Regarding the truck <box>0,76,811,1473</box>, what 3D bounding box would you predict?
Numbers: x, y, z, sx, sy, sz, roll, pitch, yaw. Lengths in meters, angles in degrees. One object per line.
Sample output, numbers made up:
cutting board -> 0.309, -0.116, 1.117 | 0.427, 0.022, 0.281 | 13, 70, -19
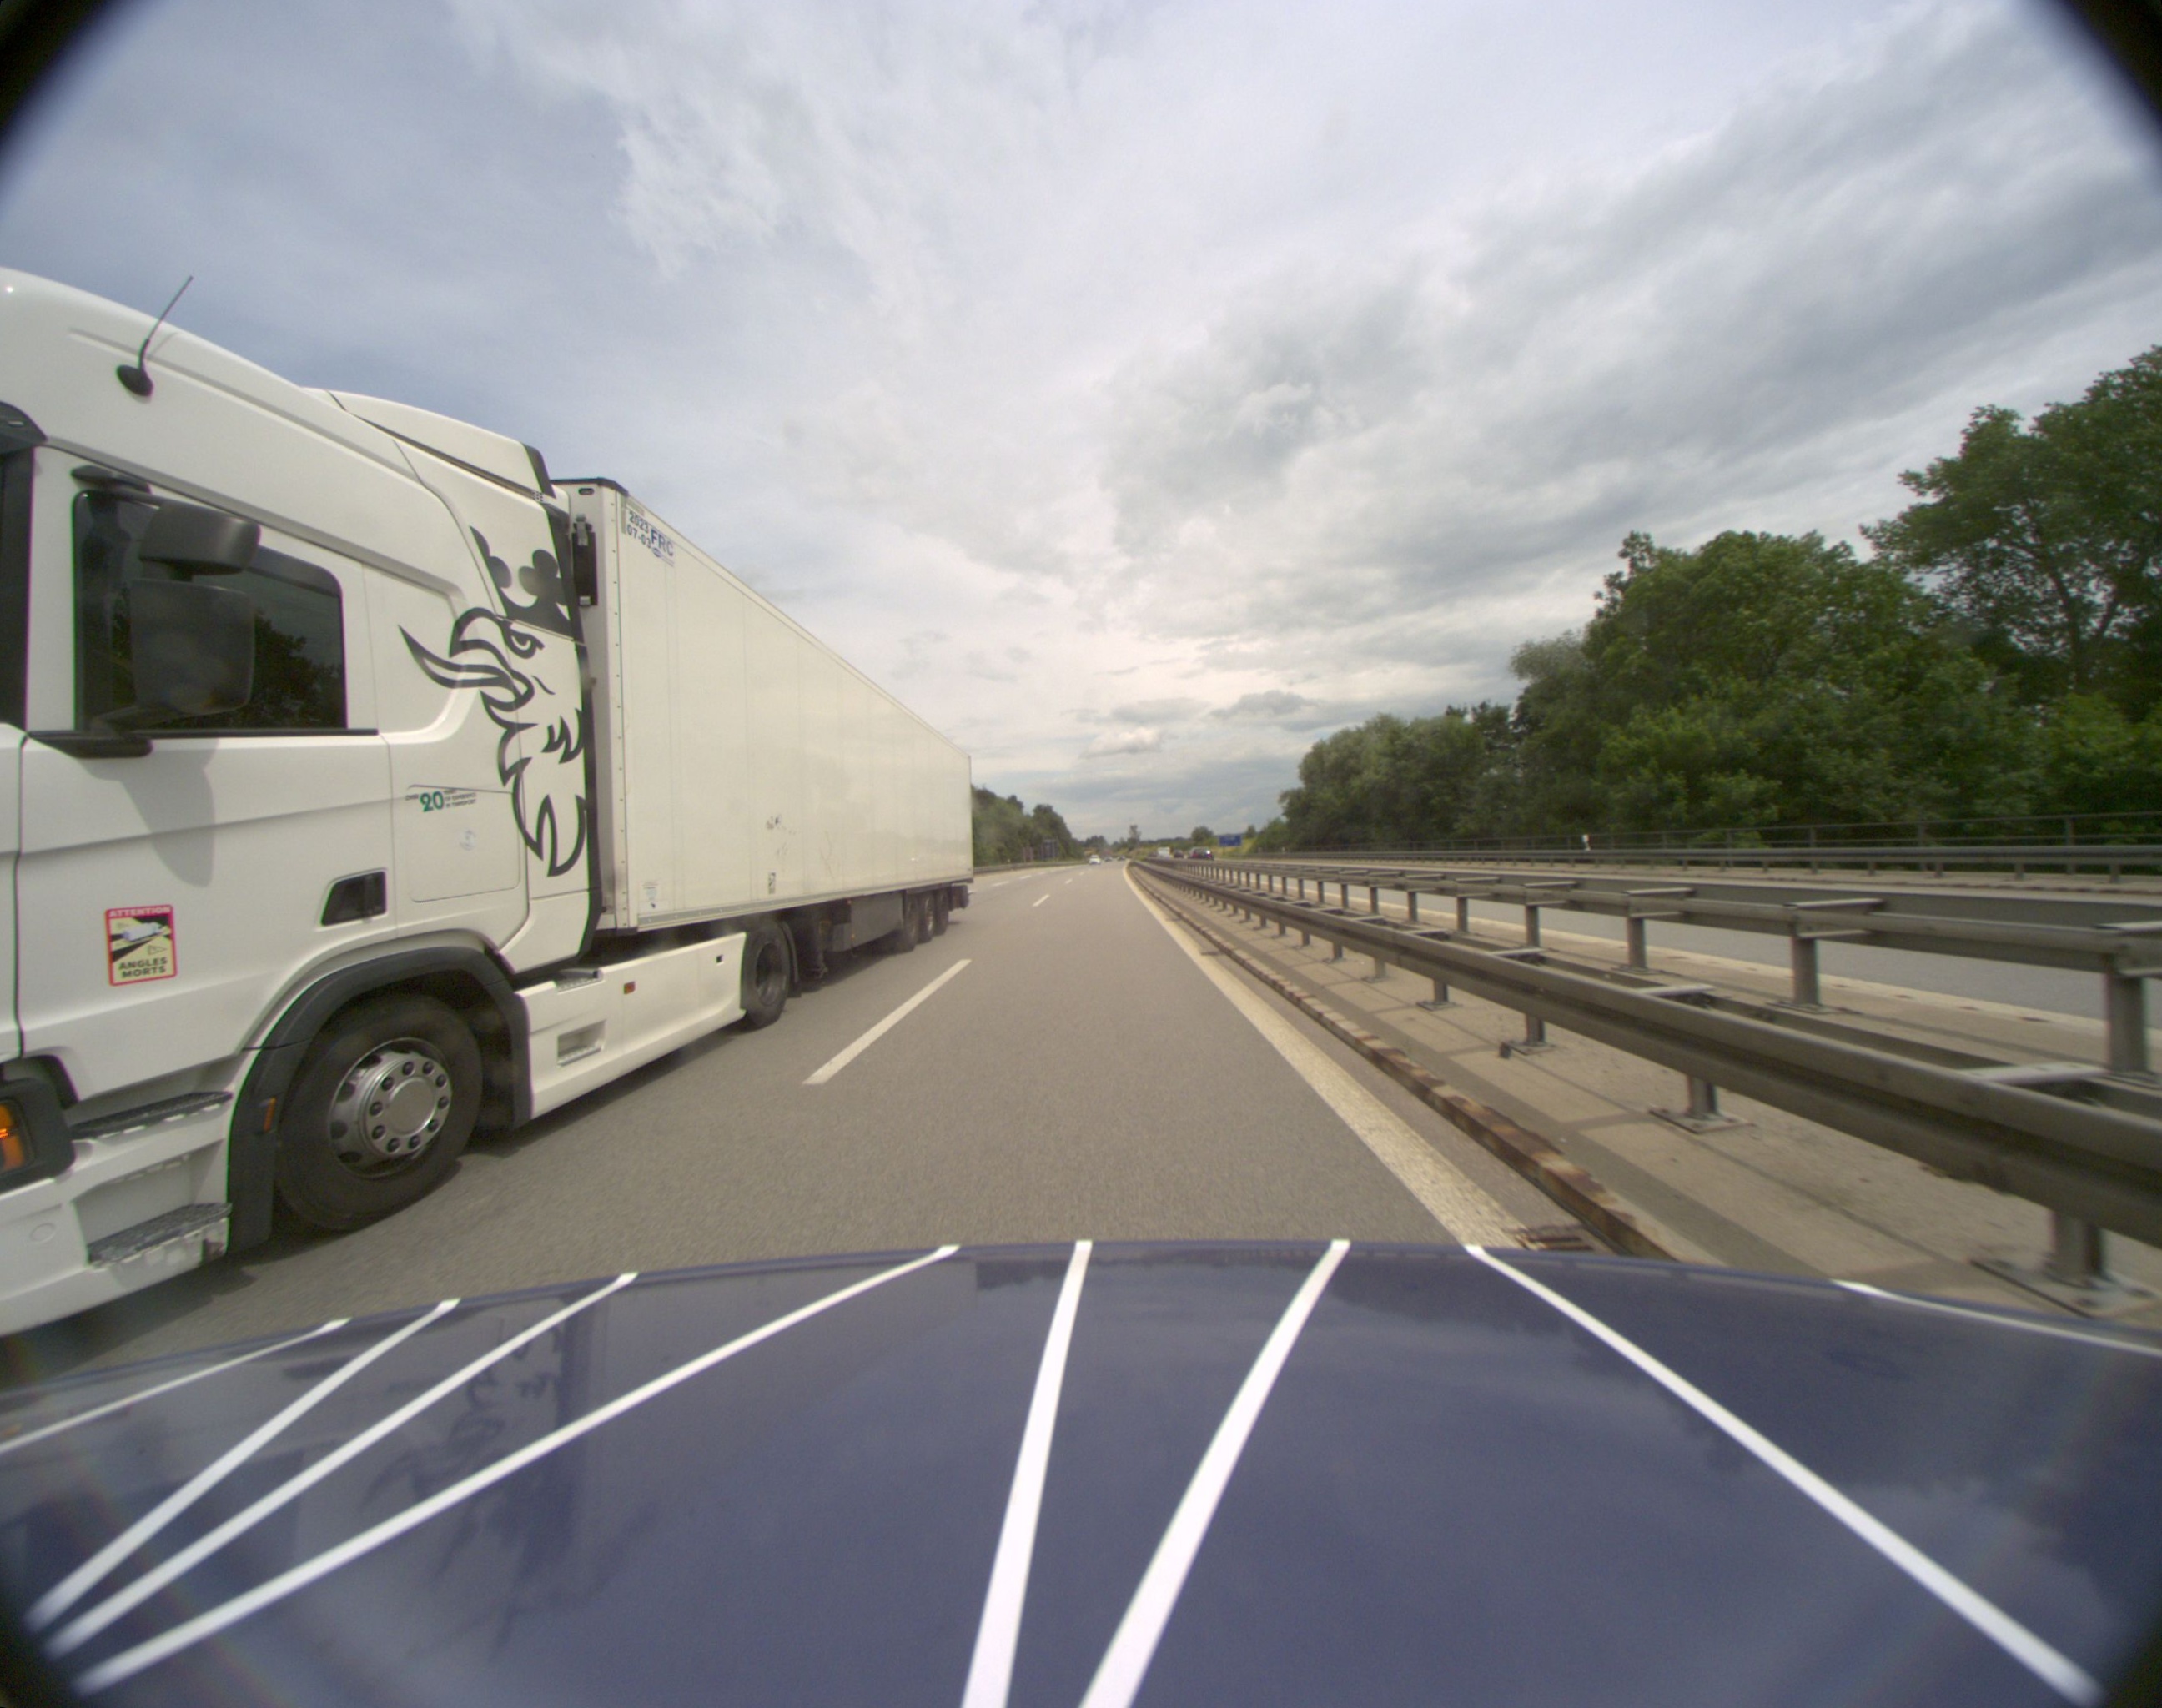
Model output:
truck -> -4.441, -0.230, 4.753 | 3.069, 3.869, 6.000 | -2, 1, 2

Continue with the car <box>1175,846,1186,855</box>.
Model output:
car -> 17.864, -0.656, 136.628 | 1.733, 1.550, 4.332 | -3, 0, 4

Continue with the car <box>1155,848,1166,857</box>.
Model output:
car -> 14.988, -0.306, 143.648 | 1.850, 1.603, 4.947 | -3, 1, 3

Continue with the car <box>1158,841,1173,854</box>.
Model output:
car -> 13.019, -1.037, 117.675 | 1.776, 1.899, 4.714 | -4, 0, 1

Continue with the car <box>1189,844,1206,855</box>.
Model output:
car -> 16.472, -0.623, 107.467 | 1.850, 1.430, 3.936 | -2, 1, 3

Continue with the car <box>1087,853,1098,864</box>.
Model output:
car -> 1.971, 0.787, 129.799 | 1.775, 1.813, 4.165 | -2, 1, 2

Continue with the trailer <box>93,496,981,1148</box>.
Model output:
trailer -> -4.232, -0.224, 11.533 | 3.069, 3.868, 13.790 | -2, 0, 2

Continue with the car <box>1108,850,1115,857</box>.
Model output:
car -> 8.078, -0.036, 200.336 | 1.649, 1.686, 4.737 | -2, 1, 2

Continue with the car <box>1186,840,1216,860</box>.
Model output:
car -> 9.198, -0.328, 58.535 | 1.690, 1.368, 4.358 | -3, 0, 1

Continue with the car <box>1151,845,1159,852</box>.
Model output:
car -> 18.658, -1.272, 191.127 | 1.729, 1.641, 4.224 | -3, 0, 4

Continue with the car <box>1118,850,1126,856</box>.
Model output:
car -> 9.926, -0.241, 184.314 | 1.775, 1.474, 4.696 | -3, 0, -1
